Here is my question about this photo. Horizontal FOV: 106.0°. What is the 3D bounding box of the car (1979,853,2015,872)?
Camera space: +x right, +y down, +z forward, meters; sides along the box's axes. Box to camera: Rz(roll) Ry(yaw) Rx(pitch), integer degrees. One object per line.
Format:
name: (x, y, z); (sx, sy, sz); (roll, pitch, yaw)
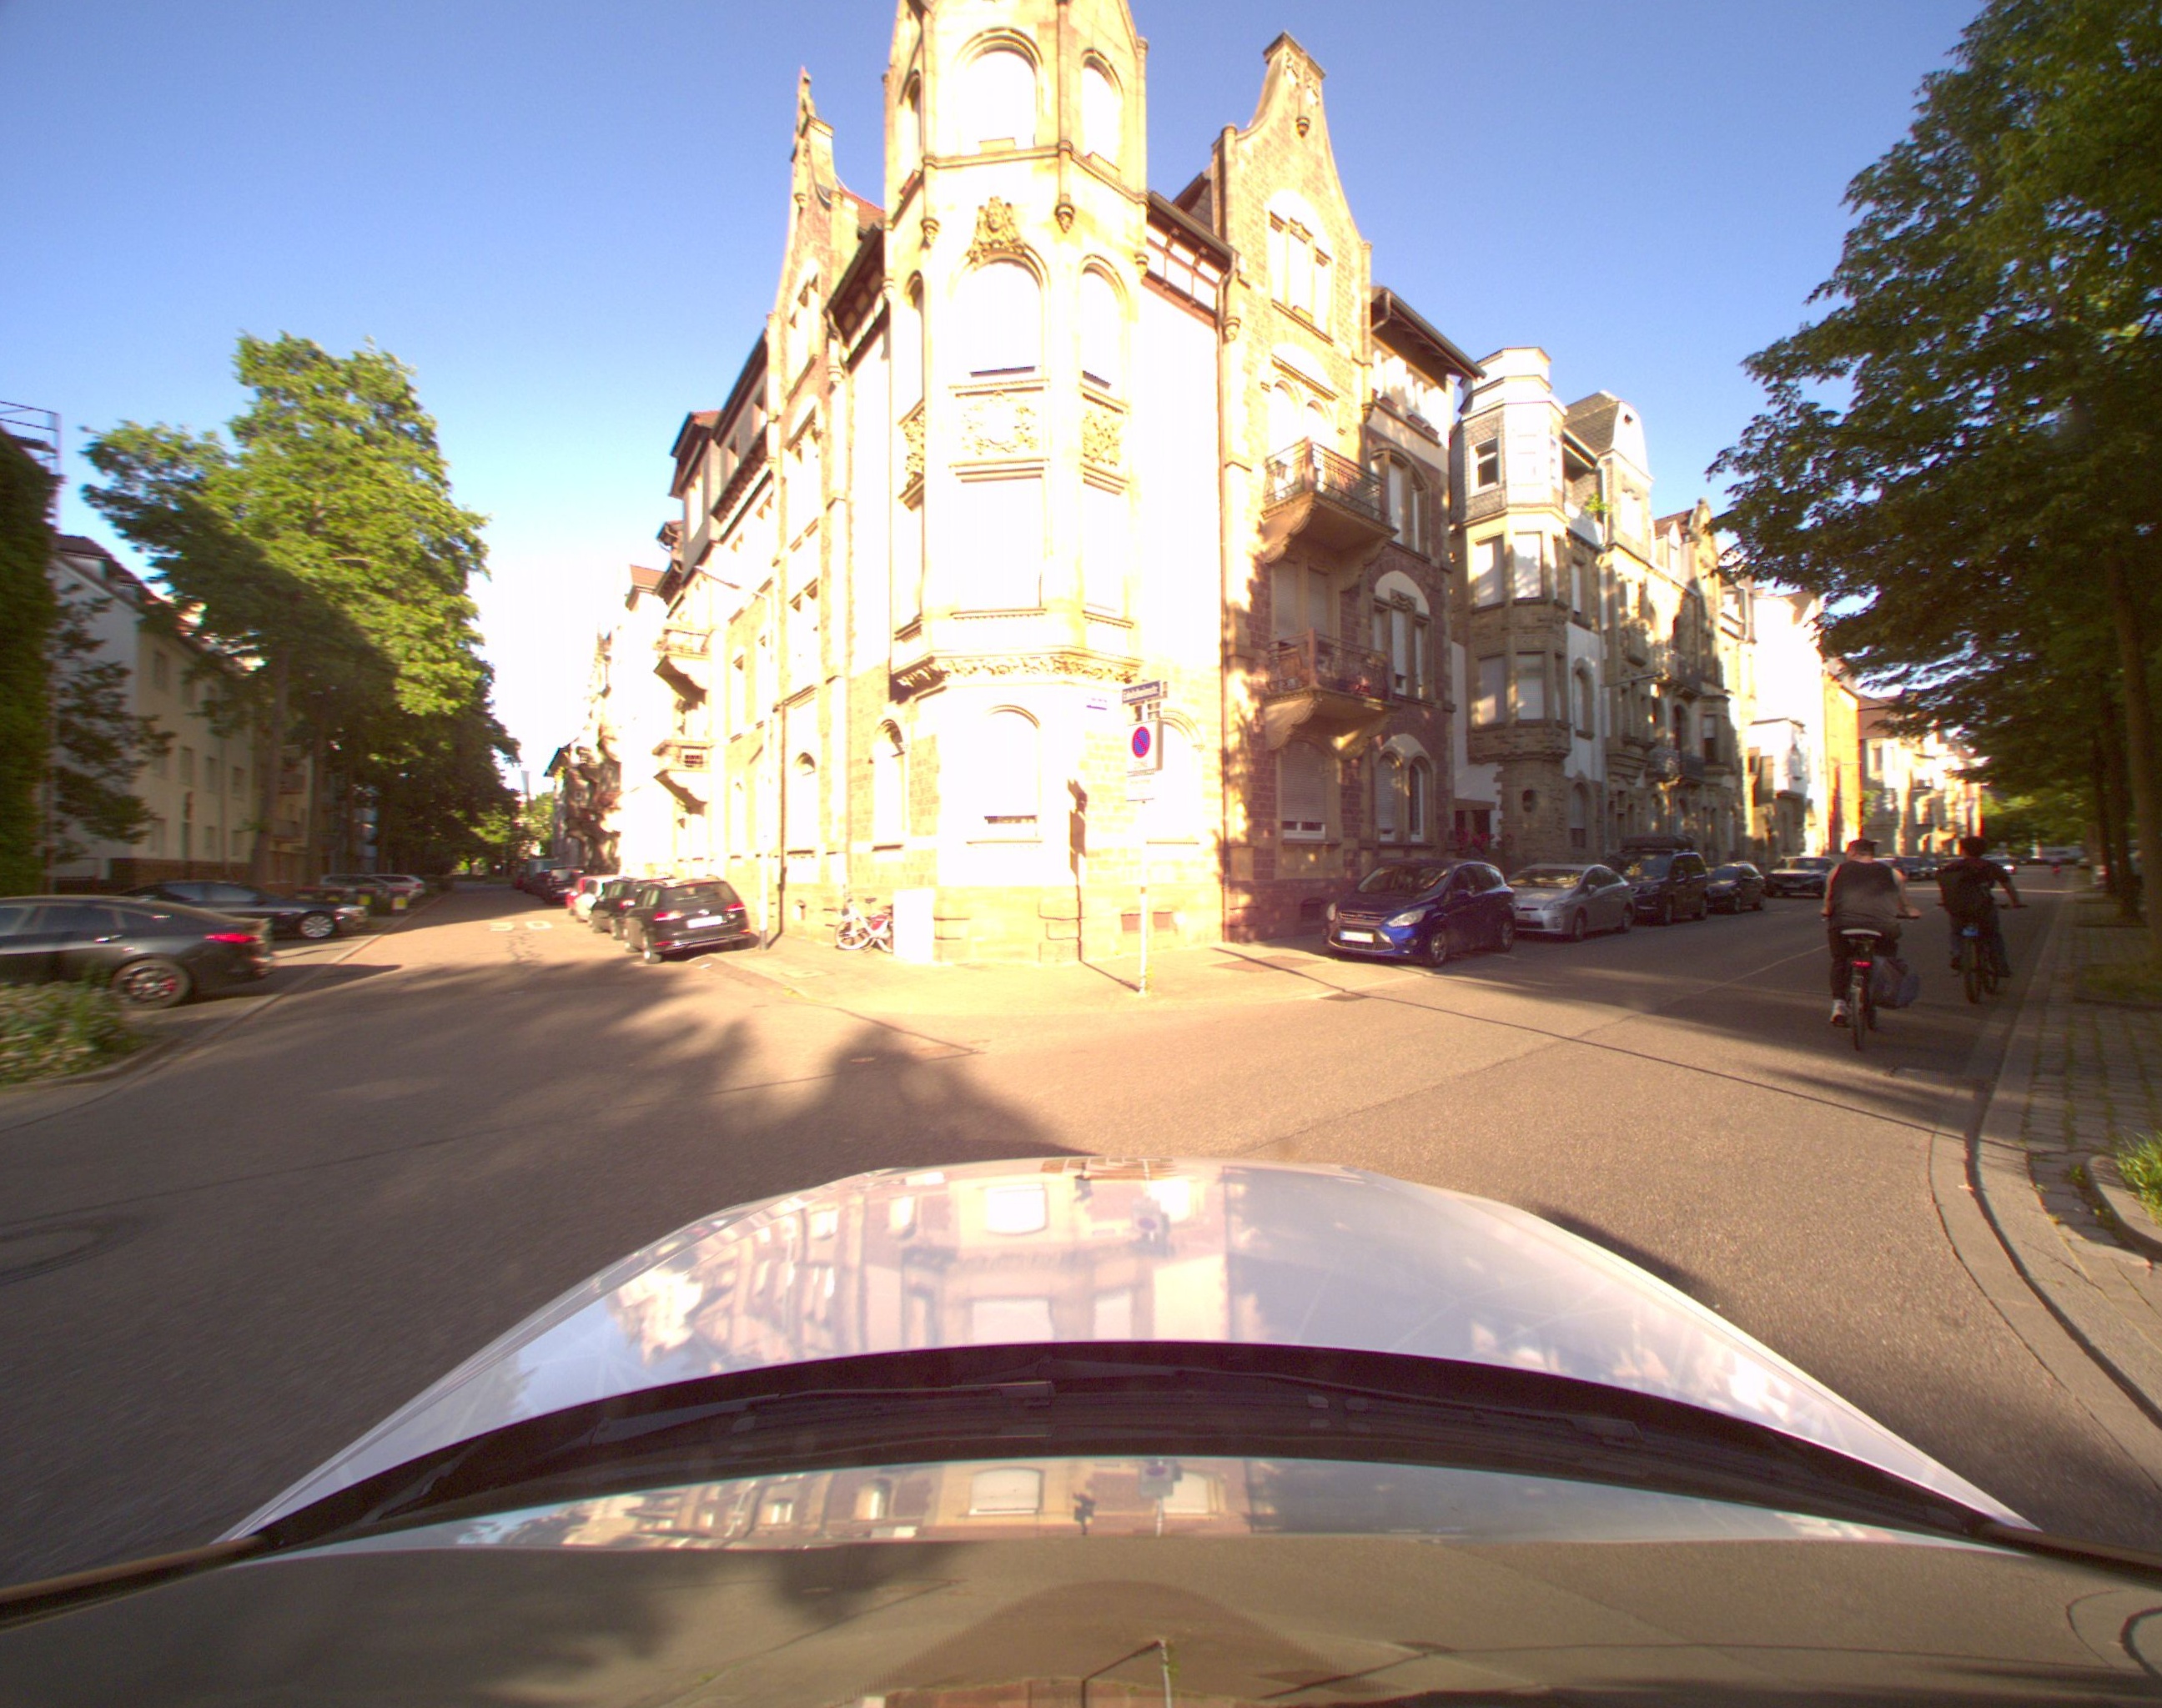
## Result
car: (73.346, 0.702, 65.252); (4.405, 1.486, 1.880); (2, -2, -42)

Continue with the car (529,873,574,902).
car: (-29.383, 1.808, 45.112); (1.816, 1.515, 3.955); (2, -2, -37)

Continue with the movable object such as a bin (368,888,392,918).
movable object such as a bin: (-25.693, 1.790, 29.837); (0.635, 1.053, 0.561); (2, -2, -42)

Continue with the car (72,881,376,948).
car: (-20.500, 1.402, 19.869); (4.873, 1.435, 1.690); (2, -2, -38)

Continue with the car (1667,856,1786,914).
car: (19.437, 0.916, 24.444); (4.730, 1.574, 1.715); (2, -2, -38)

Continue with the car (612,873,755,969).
car: (-7.738, 1.173, 15.678); (1.751, 1.581, 3.955); (2, -2, -37)

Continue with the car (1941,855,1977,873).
car: (77.474, 0.903, 71.838); (4.020, 1.486, 1.976); (2, -2, -40)

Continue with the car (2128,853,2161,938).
car: (20.615, 0.624, 12.858); (1.952, 1.442, 4.851); (2, -4, -40)

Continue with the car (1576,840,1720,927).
car: (14.408, 0.657, 20.585); (4.521, 1.974, 1.952); (0, 0, -41)

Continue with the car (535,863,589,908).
car: (-24.661, 1.470, 38.631); (1.816, 2.004, 3.955); (2, -2, -37)

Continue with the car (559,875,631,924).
car: (-17.067, 1.526, 28.540); (1.751, 1.581, 3.955); (2, -2, -37)

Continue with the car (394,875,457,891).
car: (-52.069, 2.331, 64.758); (3.832, 1.240, 1.690); (2, -2, -39)

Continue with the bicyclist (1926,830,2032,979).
bicyclist: (9.844, 0.534, 8.925); (0.977, 1.527, 0.712); (2, -2, -40)

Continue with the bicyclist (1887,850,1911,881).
bicyclist: (36.981, 0.526, 36.812); (1.066, 1.345, 0.659); (0, -2, -42)

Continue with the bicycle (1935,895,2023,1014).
bicycle: (9.857, 1.034, 8.919); (1.979, 1.073, 0.550); (-1, 0, -40)

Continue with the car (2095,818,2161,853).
car: (61.159, -1.076, 46.344); (1.863, 1.840, 4.208); (2, -3, -37)

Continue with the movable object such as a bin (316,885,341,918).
movable object such as a bin: (-26.732, 1.681, 28.933); (0.603, 1.153, 0.481); (2, -2, -42)

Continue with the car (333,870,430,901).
car: (-37.261, 1.665, 43.532); (3.832, 1.575, 1.690); (2, -2, -39)

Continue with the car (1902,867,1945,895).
car: (53.440, 1.704, 51.652); (3.989, 1.665, 1.617); (2, -2, -40)

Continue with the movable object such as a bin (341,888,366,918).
movable object such as a bin: (-26.202, 1.768, 29.336); (0.635, 1.053, 0.561); (2, -2, -42)

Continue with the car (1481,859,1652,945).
car: (10.073, 0.878, 16.751); (4.478, 1.499, 1.714); (0, 0, -41)

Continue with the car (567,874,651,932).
car: (-14.353, 1.411, 24.678); (1.751, 1.581, 3.955); (2, -2, -37)

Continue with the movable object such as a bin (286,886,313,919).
movable object such as a bin: (-27.257, 1.684, 28.417); (0.639, 1.126, 0.481); (2, -2, -42)

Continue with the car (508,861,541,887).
car: (-49.472, 1.780, 72.306); (2.183, 2.237, 4.737); (2, -2, -37)

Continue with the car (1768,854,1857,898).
car: (28.709, 0.870, 31.918); (4.418, 1.622, 2.032); (2, -2, -41)

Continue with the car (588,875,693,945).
car: (-11.222, 1.337, 20.628); (1.751, 1.581, 3.955); (2, -2, -37)

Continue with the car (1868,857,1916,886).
car: (45.698, 0.990, 45.882); (3.793, 1.517, 1.479); (1, 2, -39)

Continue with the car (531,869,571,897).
car: (-33.193, 1.808, 50.958); (1.816, 1.679, 3.955); (2, -2, -37)

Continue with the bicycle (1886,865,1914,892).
bicycle: (36.795, 1.088, 36.586); (2.635, 1.178, 0.746); (0, -2, -42)

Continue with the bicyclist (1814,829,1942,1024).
bicyclist: (6.787, 0.582, 6.983); (0.699, 1.527, 0.978); (-1, -2, 41)

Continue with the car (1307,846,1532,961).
car: (5.729, 0.747, 13.535); (4.280, 1.622, 1.714); (2, -1, -41)

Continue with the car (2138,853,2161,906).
car: (31.821, 0.685, 22.238); (1.760, 1.472, 3.471); (2, -3, -39)

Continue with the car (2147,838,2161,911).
car: (26.595, 0.328, 17.399); (1.952, 1.670, 4.437); (-1, -3, -40)

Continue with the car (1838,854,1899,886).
car: (41.297, 0.840, 42.679); (4.134, 1.517, 1.741); (1, 2, -39)

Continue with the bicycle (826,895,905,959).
bicycle: (-3.702, 1.225, 13.963); (1.556, 0.998, 0.519); (-1, -2, 42)

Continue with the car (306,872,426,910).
car: (-31.266, 1.609, 35.753); (3.833, 1.575, 1.690); (2, -2, -40)

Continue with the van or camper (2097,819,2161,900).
van or camper: (36.040, 0.093, 25.217); (2.280, 2.537, 5.525); (2, -4, -40)

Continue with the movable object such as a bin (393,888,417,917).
movable object such as a bin: (-25.140, 1.811, 30.285); (0.635, 1.053, 0.561); (2, -2, -42)

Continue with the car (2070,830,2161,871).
car: (90.504, -0.324, 69.683); (2.233, 3.283, 7.273); (2, -3, -37)

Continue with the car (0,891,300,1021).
car: (-12.934, 1.218, 10.238); (4.277, 1.435, 1.977); (2, -2, -38)

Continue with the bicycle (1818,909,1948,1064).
bicycle: (6.821, 1.049, 7.008); (0.689, 1.073, 1.980); (-1, -2, 42)

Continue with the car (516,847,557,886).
car: (-39.342, 0.899, 58.817); (2.183, 2.691, 4.737); (2, -2, -37)
